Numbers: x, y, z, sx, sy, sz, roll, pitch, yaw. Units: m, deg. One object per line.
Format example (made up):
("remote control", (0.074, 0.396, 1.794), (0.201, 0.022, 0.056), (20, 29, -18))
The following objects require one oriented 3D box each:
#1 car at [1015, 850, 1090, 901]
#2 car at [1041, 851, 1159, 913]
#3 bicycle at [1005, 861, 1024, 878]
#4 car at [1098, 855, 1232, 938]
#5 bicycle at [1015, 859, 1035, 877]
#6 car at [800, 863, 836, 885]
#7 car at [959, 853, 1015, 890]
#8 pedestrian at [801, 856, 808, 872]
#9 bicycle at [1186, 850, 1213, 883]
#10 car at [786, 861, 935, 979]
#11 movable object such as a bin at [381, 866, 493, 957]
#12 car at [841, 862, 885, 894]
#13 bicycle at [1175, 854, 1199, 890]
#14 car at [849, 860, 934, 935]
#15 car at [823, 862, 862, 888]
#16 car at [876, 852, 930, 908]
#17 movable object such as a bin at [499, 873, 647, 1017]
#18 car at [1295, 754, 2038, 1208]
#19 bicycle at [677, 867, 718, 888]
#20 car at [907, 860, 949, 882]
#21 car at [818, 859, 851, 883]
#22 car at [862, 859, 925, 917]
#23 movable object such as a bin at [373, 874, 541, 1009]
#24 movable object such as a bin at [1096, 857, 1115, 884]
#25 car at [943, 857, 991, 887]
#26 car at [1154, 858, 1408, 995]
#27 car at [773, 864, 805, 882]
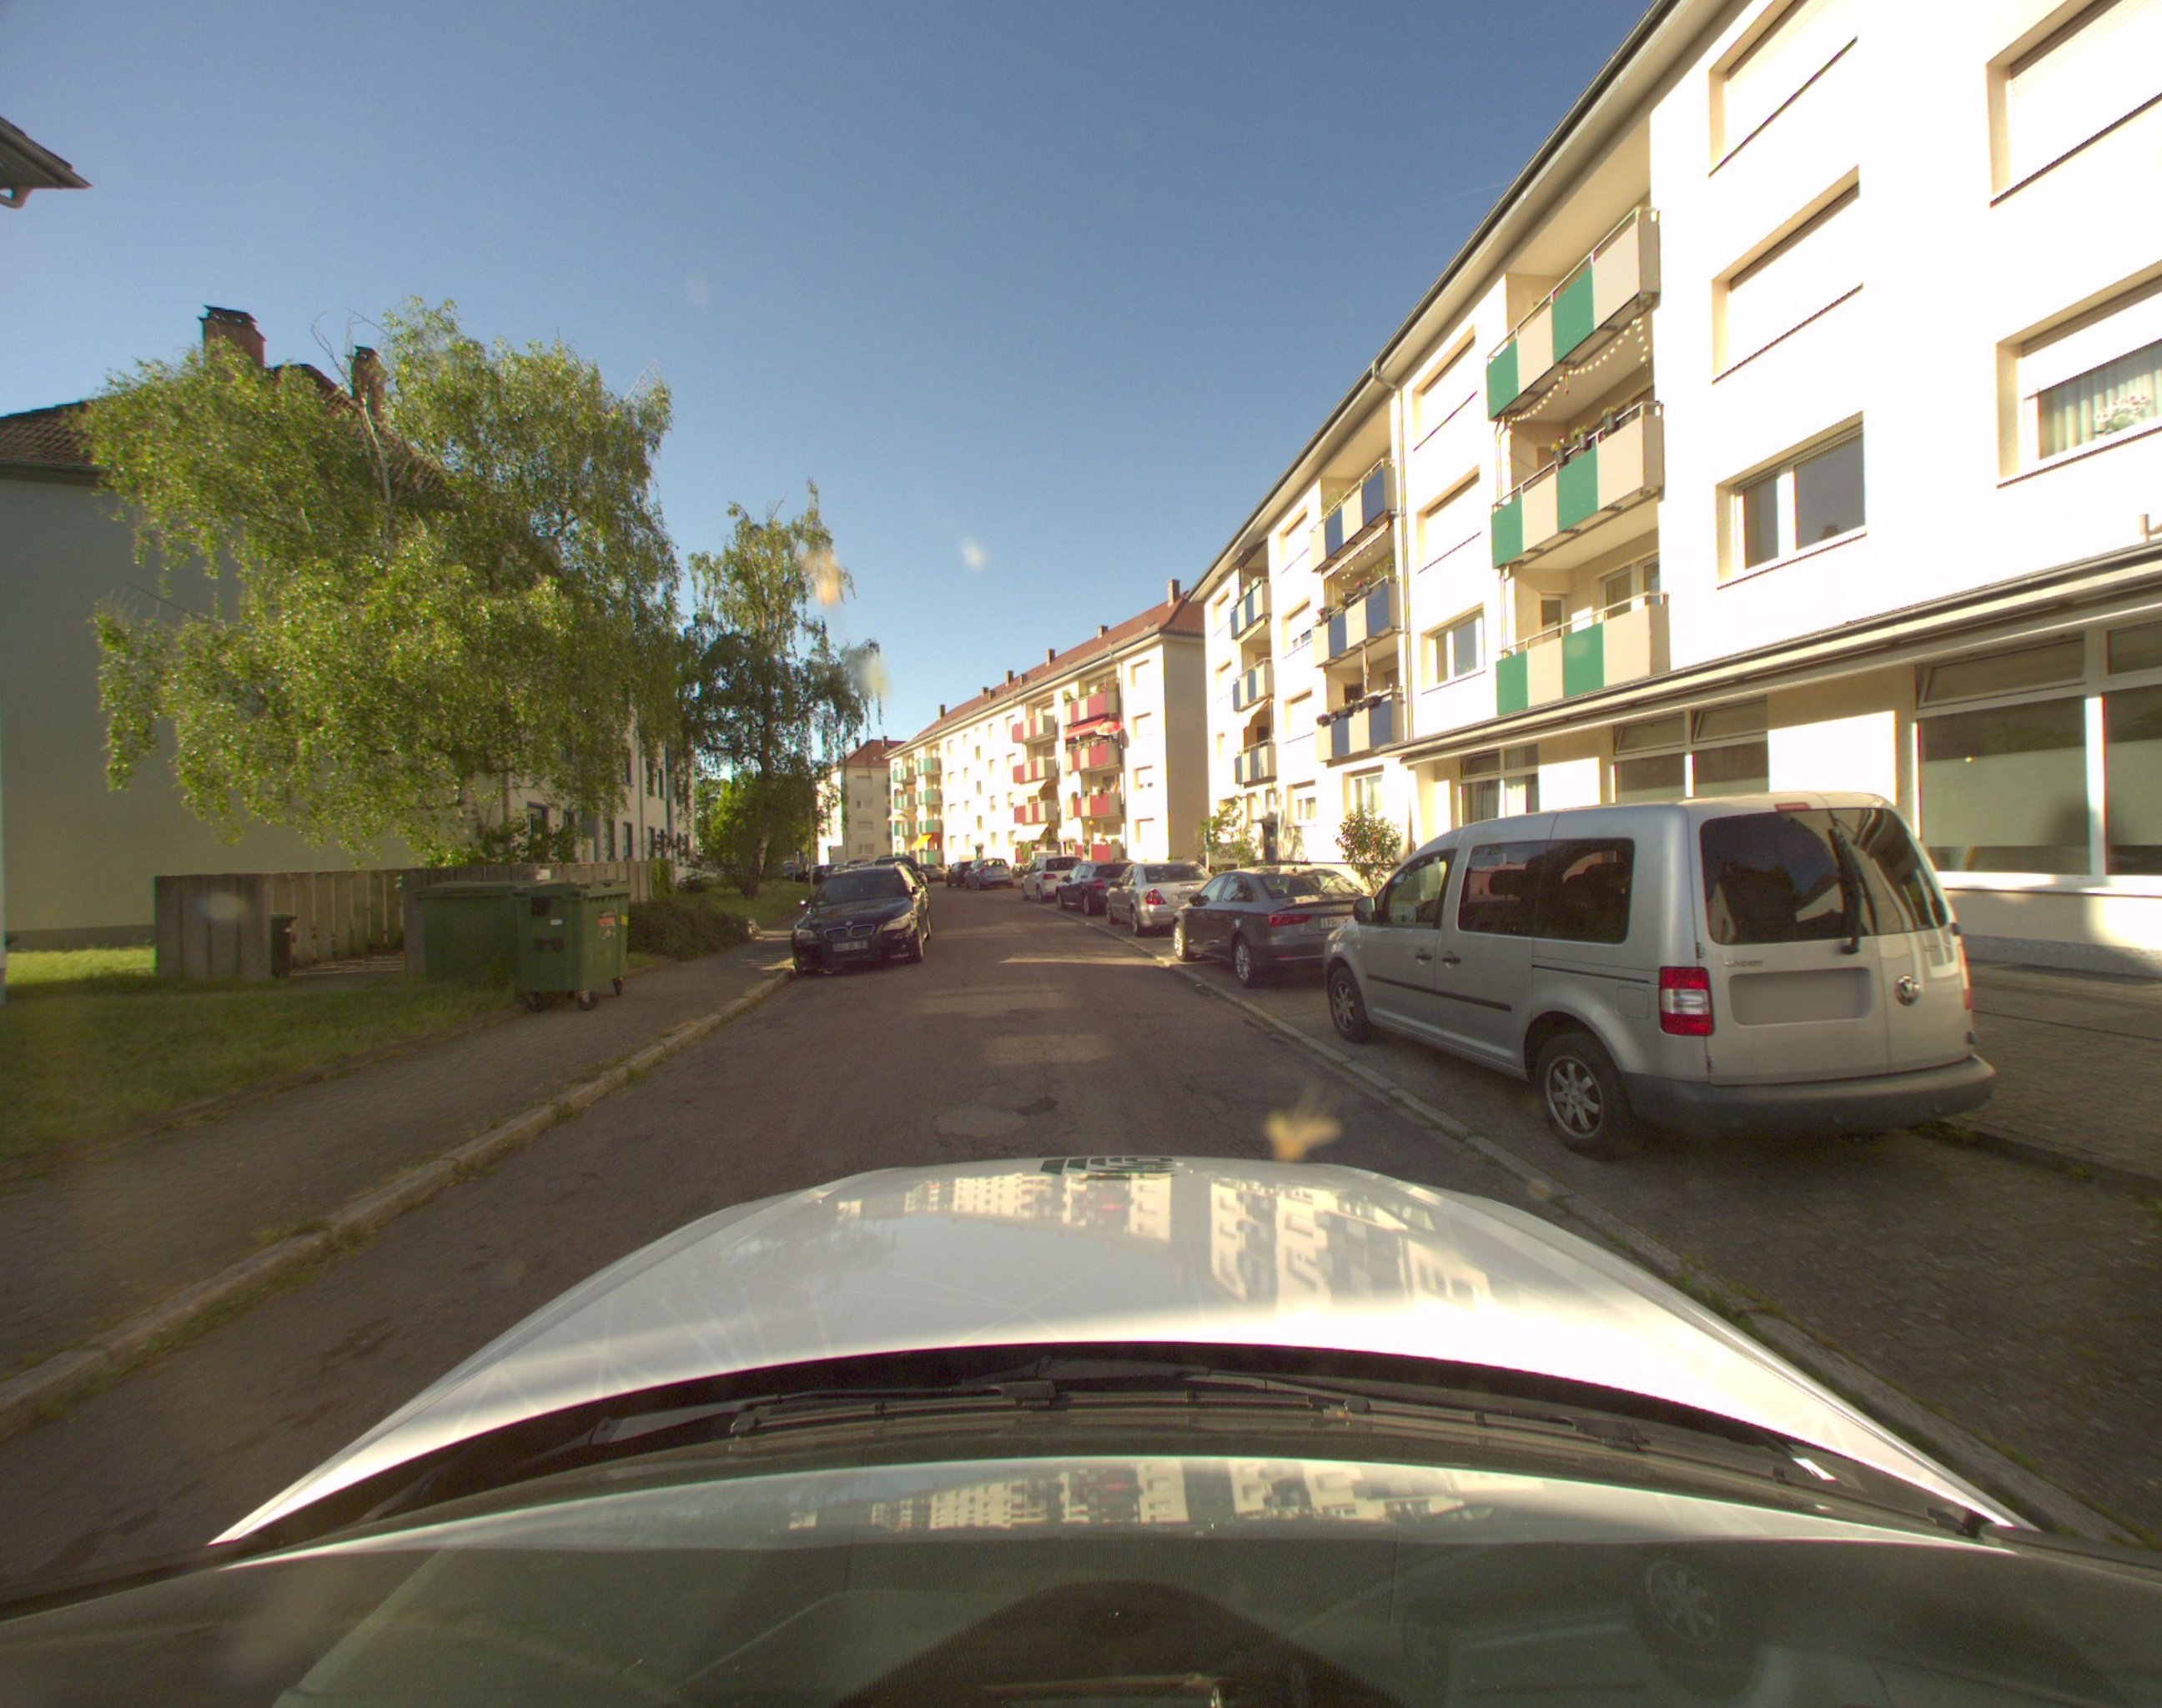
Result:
("car", (-1.124, 0.774, 29.818), (1.697, 1.655, 4.366), (-3, 0, -16))
("car", (0.404, 0.781, 23.189), (1.700, 1.431, 4.656), (-6, 0, -19))
("bicycle", (-4.164, 0.967, 50.932), (0.500, 1.019, 1.826), (-4, 1, -25))
("car", (1.608, 0.777, 17.386), (1.677, 1.447, 4.709), (-2, 0, -9))
("bicycle", (-3.532, 0.864, 51.242), (0.620, 0.978, 1.880), (-5, 3, -25))
("car", (-19.452, 1.454, 60.160), (1.753, 1.431, 4.557), (-5, 1, -27))
("car", (-4.898, 0.842, 41.835), (1.773, 1.635, 4.011), (-4, 2, -22))
("pedestrian", (-32.720, 1.171, 96.360), (0.657, 1.815, 0.609), (-4, 0, -23))
("bicycle", (4.499, 0.446, 30.993), (0.514, 1.202, 1.830), (-4, 1, -5))
("car", (-3.444, 0.920, 13.523), (1.677, 1.452, 4.608), (-5, 1, -8))
("movable object such as a bin", (-11.062, 0.960, 14.044), (1.059, 1.435, 1.001), (-4, 0, -6))
("car", (-11.774, 1.242, 43.817), (1.701, 1.389, 4.126), (-3, 3, -22))
("bicycle", (3.821, 0.643, 29.501), (0.513, 1.202, 1.760), (-4, 1, -1))
("car", (-4.477, 0.944, 19.553), (1.679, 1.442, 4.263), (-5, 1, -12))
("car", (-14.812, 1.254, 50.437), (1.577, 1.464, 4.226), (-4, 1, -26))
("car", (-6.403, 0.878, 28.941), (1.558, 1.714, 4.315), (-5, 1, -15))
("movable object such as a bin", (-5.524, 0.932, 8.956), (0.774, 1.392, 1.415), (-2, 0, -5))
("car", (3.167, 0.524, 5.620), (1.746, 1.823, 4.121), (-5, 0, -7))
("bicycle", (-20.172, 1.242, 42.851), (1.822, 1.078, 0.565), (1, -1, -14))
("car", (-10.579, 1.145, 56.204), (1.695, 1.363, 4.202), (-5, 1, -27))
("car", (-16.787, 1.154, 55.372), (1.486, 1.477, 3.601), (-6, 2, -25))
("car", (-5.446, 0.927, 23.915), (1.556, 1.442, 3.952), (-5, 1, -12))
("movable object such as a bin", (-6.830, 0.932, 8.969), (1.216, 1.380, 0.767), (-1, 0, -1))
("movable object such as a bin", (1.002, 0.680, 33.572), (0.584, 1.056, 0.638), (-5, -1, -11))
("car", (-6.577, 1.014, 46.534), (1.743, 1.508, 3.856), (-5, 1, -22))
("car", (2.442, 0.800, 11.250), (1.678, 1.407, 4.529), (-2, 0, -10))
("car", (-24.890, 1.613, 69.280), (1.670, 1.443, 3.831), (-4, 1, -33))
